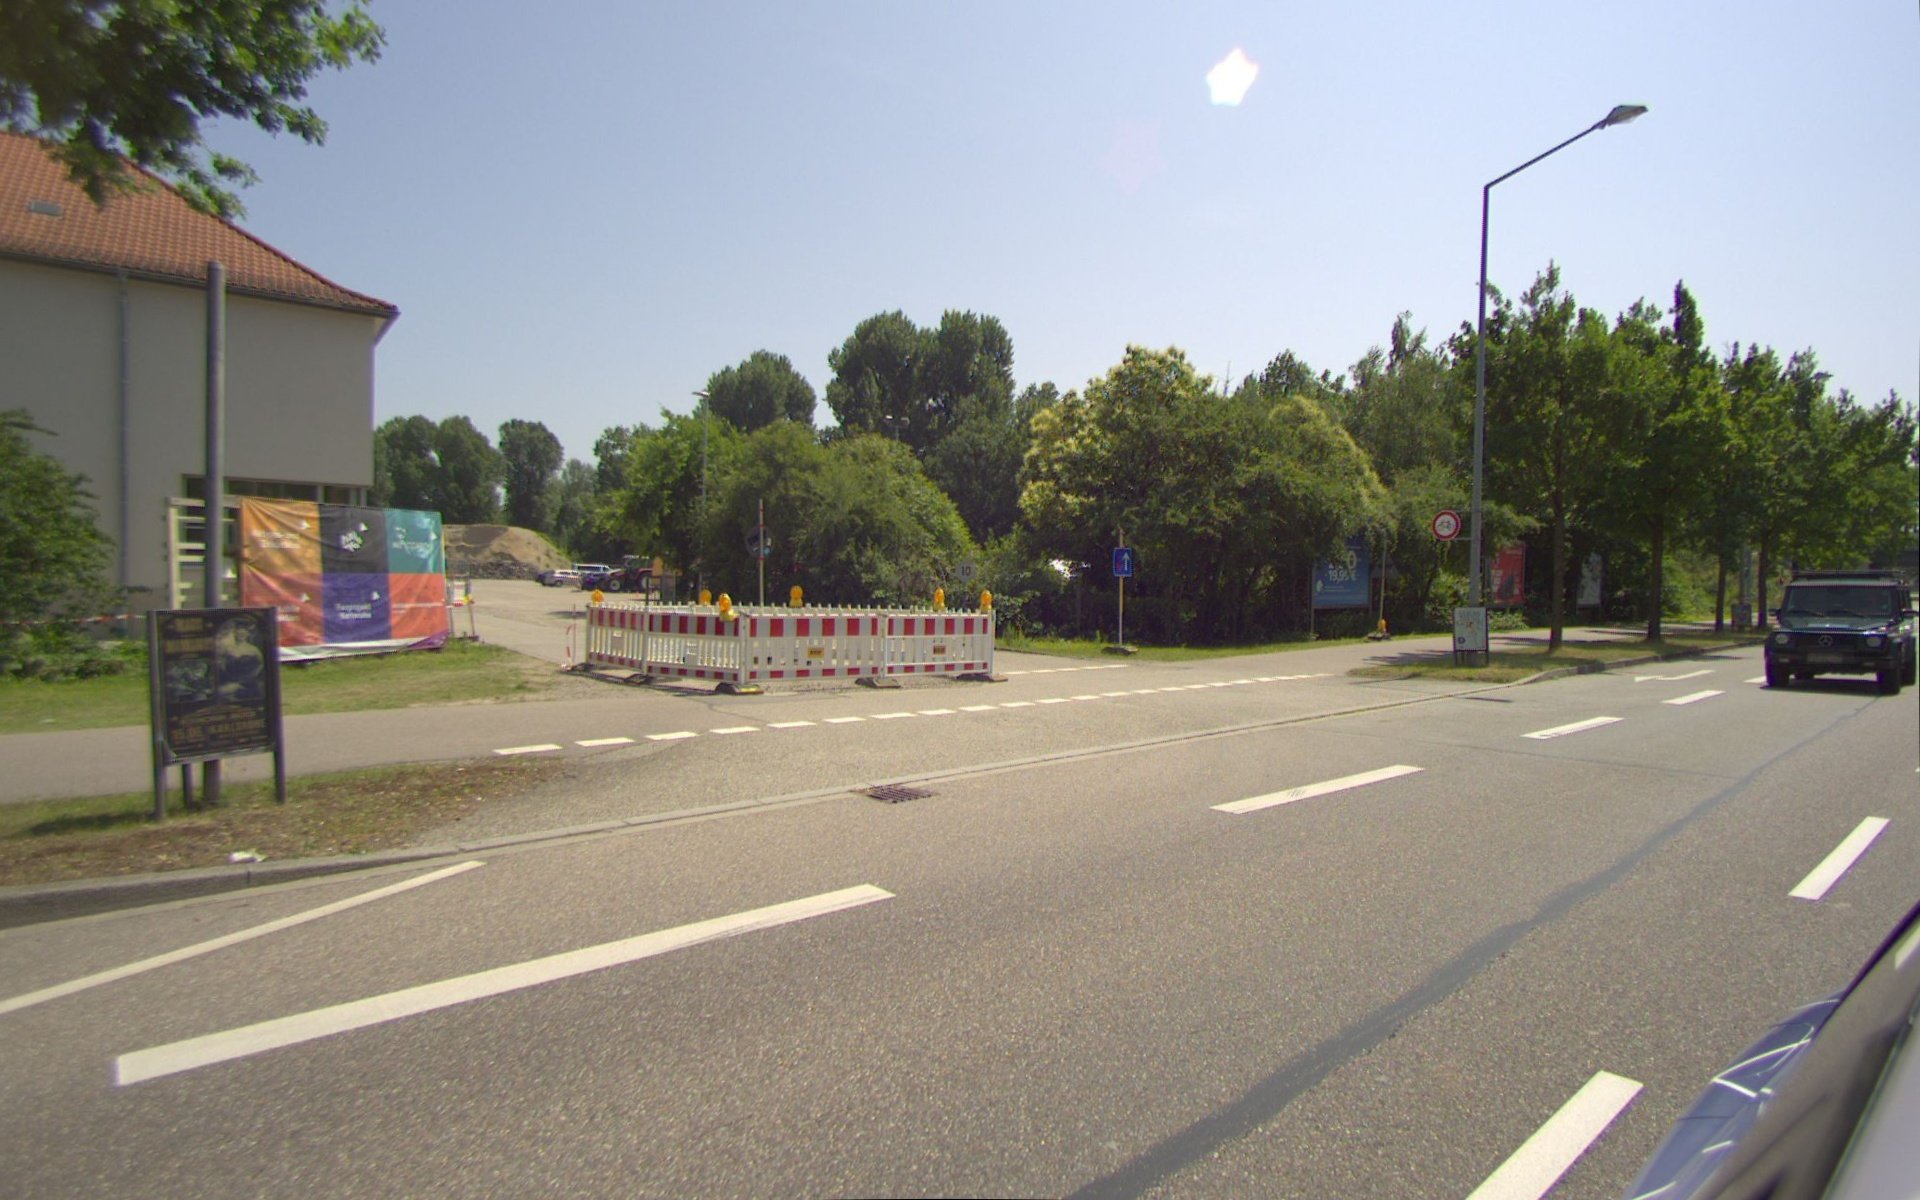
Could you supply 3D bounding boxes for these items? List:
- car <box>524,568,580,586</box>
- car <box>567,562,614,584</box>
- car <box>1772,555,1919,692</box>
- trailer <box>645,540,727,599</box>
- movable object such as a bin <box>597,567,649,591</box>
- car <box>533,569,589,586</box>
[{"bbox_3d":[-34.498,-1.933,85.591,3.930,1.451,1.997,0,2,-41],"label":"car"},{"bbox_3d":[-36.086,-2.610,98.817,4.058,2.039,1.932,0,1,-28],"label":"car"},{"bbox_3d":[16.237,0.327,18.307,4.482,2.180,1.839,-1,2,-44],"label":"car"},{"bbox_3d":[-16.342,-1.807,60.383,3.927,3.372,2.718,0,1,-38],"label":"trailer"},{"bbox_3d":[-23.948,-1.484,71.859,3.194,1.680,2.180,0,1,-28],"label":"movable object such as a bin"},{"bbox_3d":[-32.969,-1.843,83.678,3.930,1.371,1.997,0,2,-41],"label":"car"}]
